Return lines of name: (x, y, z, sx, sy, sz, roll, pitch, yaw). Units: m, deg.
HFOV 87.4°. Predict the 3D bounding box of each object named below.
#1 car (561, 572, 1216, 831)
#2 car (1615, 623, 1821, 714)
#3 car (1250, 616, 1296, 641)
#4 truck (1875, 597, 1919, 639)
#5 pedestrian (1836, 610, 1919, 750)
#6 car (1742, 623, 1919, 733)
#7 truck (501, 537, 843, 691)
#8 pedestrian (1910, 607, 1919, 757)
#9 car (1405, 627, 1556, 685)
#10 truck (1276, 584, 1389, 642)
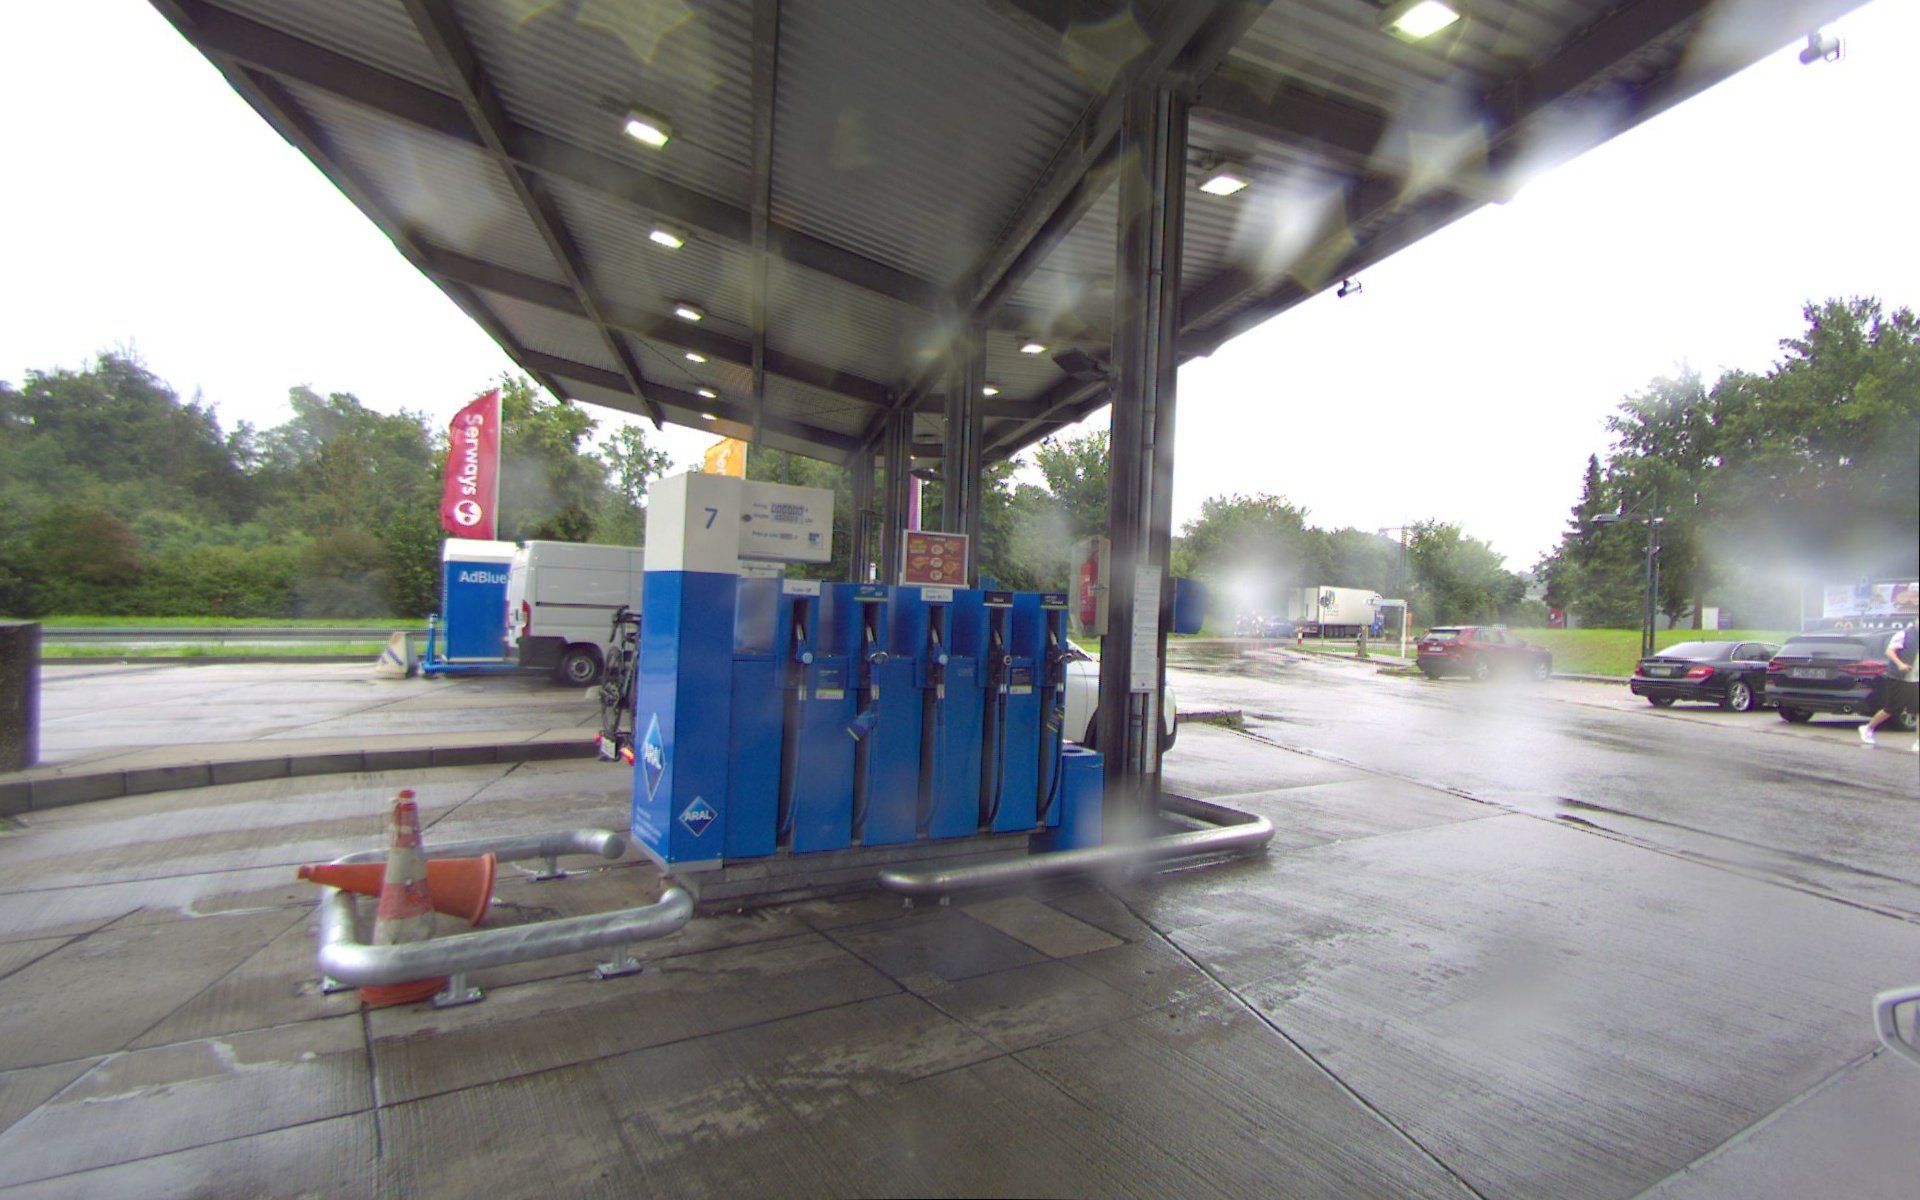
car: (-0.430, 0.704, 8.450, 5.210, 1.629, 1.852, 2, 0, -30)
car: (15.937, 1.361, 21.082, 4.293, 1.734, 2.007, 1, -2, -31)
car: (22.898, 2.073, 73.428, 1.787, 1.704, 3.934, 2, 0, 40)
truck: (68.849, 1.330, 71.693, 5.285, 2.959, 2.191, 2, 0, -5)
pedestrian: (13.189, 1.105, 14.217, 0.690, 1.912, 0.954, 2, 0, -1)
car: (16.168, 1.275, 17.459, 4.274, 1.734, 2.016, 1, -1, -18)
truck: (-5.342, 0.298, 18.931, 5.793, 2.527, 2.221, 2, 0, -30)
pedestrian: (12.733, 1.062, 12.616, 0.692, 1.912, 0.891, 2, 0, -14)
car: (16.072, 1.675, 30.993, 4.283, 1.666, 1.933, 1, -2, -25)
truck: (31.873, 1.198, 85.143, 3.498, 4.397, 16.922, 2, 0, 40)
